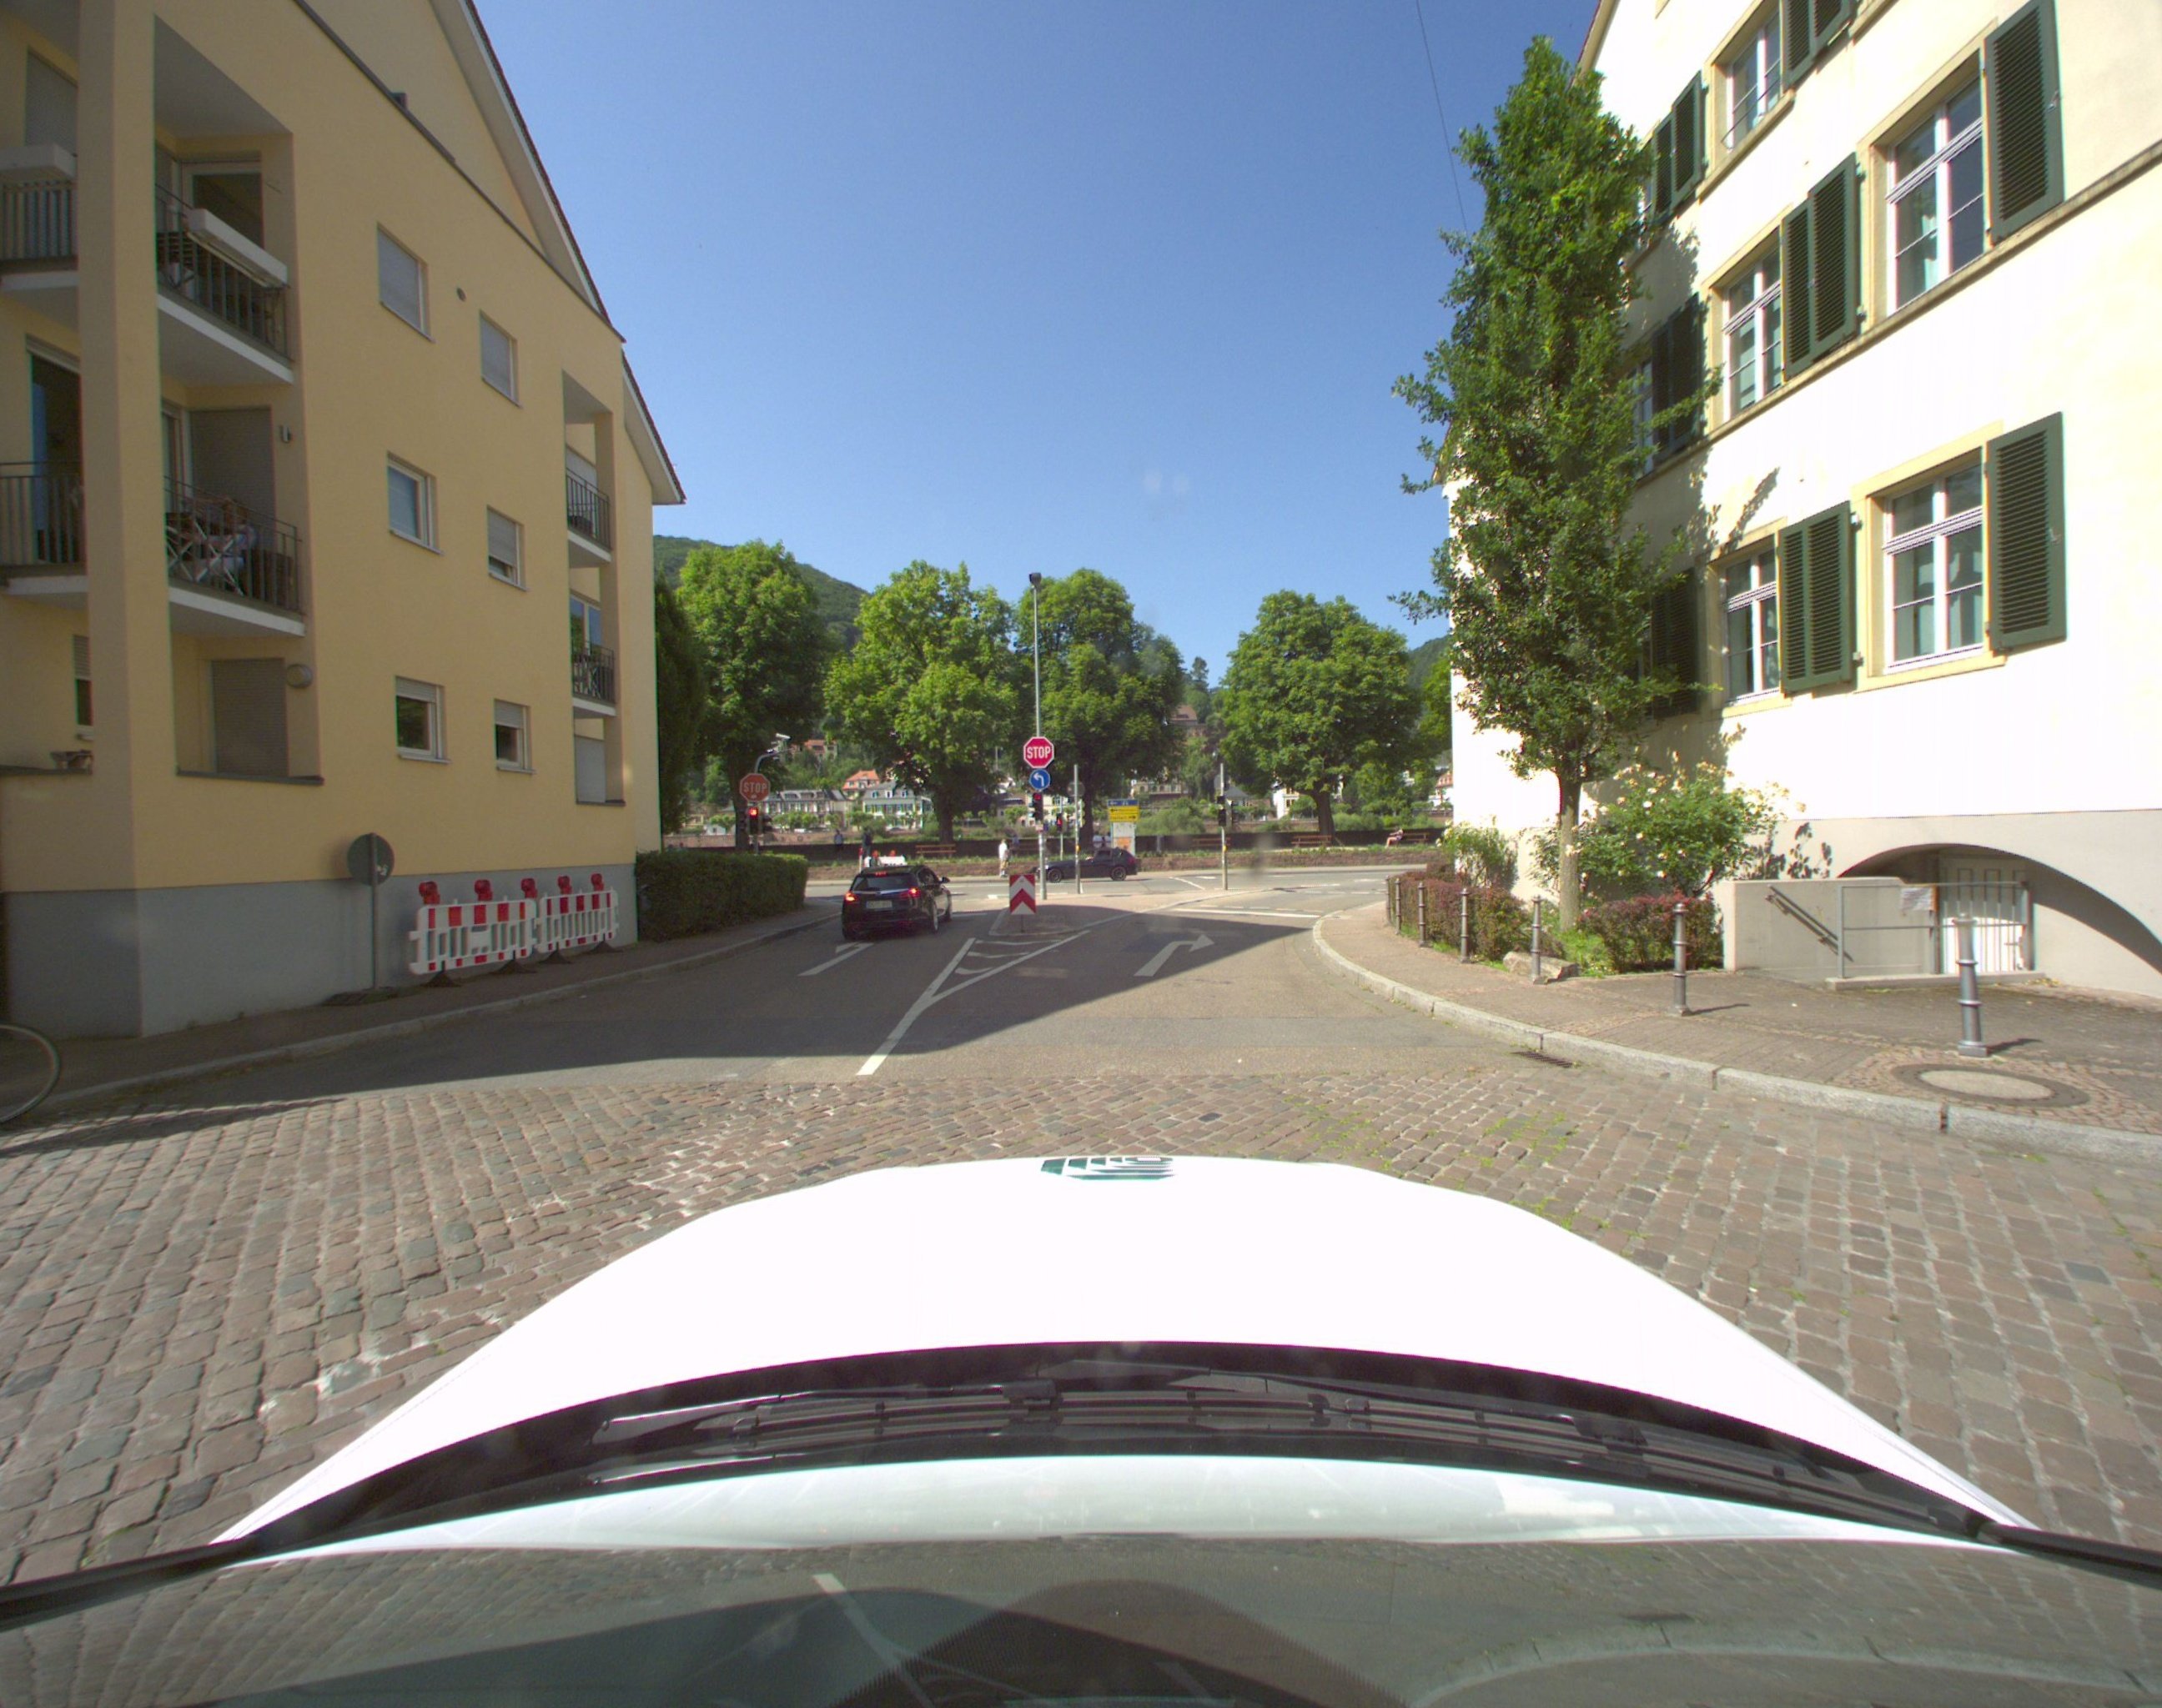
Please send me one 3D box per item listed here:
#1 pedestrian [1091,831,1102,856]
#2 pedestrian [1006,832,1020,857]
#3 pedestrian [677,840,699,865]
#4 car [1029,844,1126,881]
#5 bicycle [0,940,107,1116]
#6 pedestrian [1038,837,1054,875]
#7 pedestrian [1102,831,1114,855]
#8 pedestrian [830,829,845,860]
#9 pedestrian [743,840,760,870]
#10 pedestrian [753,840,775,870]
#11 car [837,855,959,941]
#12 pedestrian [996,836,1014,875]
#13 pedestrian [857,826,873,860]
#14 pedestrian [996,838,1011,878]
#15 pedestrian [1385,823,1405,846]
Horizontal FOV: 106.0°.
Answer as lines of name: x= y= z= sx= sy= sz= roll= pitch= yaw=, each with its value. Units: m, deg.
pedestrian: x=0.814 y=-0.550 z=42.147 sx=0.551 sy=1.279 sz=0.704 roll=1 pitch=-2 yaw=0
pedestrian: x=-3.480 y=-0.487 z=41.568 sx=0.642 sy=1.228 sz=0.412 roll=-1 pitch=0 yaw=-12
pedestrian: x=-19.865 y=-0.079 z=41.178 sx=0.465 sy=1.270 sz=1.225 roll=-1 pitch=1 yaw=2
car: x=-0.171 y=0.336 z=34.634 sx=3.976 sy=1.418 sz=1.873 roll=-1 pitch=0 yaw=-2
bicycle: x=-7.317 y=1.169 z=4.850 sx=0.387 sy=1.079 sz=1.918 roll=-2 pitch=1 yaw=17
pedestrian: x=-1.665 y=0.103 z=38.811 sx=0.686 sy=1.769 sz=0.717 roll=-2 pitch=-1 yaw=-2
pedestrian: x=1.384 y=-0.563 z=42.351 sx=0.551 sy=1.228 sz=0.985 roll=1 pitch=-2 yaw=-2
pedestrian: x=-13.897 y=-0.521 z=46.532 sx=0.708 sy=1.732 sz=0.753 roll=-1 pitch=0 yaw=-13
pedestrian: x=-16.628 y=0.048 z=41.051 sx=0.465 sy=1.493 sz=0.805 roll=-1 pitch=0 yaw=2
pedestrian: x=-16.078 y=0.053 z=41.301 sx=0.465 sy=1.479 sz=1.386 roll=-1 pitch=1 yaw=2
car: x=-3.838 y=0.832 z=17.853 sx=1.710 sy=1.462 sz=4.720 roll=-3 pitch=1 yaw=-3
pedestrian: x=-3.593 y=0.059 z=38.480 sx=0.719 sy=1.802 sz=0.634 roll=-3 pitch=-1 yaw=0
pedestrian: x=-11.696 y=-0.595 z=44.088 sx=0.765 sy=1.857 sz=0.752 roll=-1 pitch=0 yaw=-20
pedestrian: x=-3.553 y=0.164 z=37.537 sx=0.576 sy=1.801 sz=0.705 roll=-1 pitch=0 yaw=1
pedestrian: x=16.572 y=-1.027 z=43.027 sx=0.795 sy=1.211 sz=0.715 roll=1 pitch=-2 yaw=1
